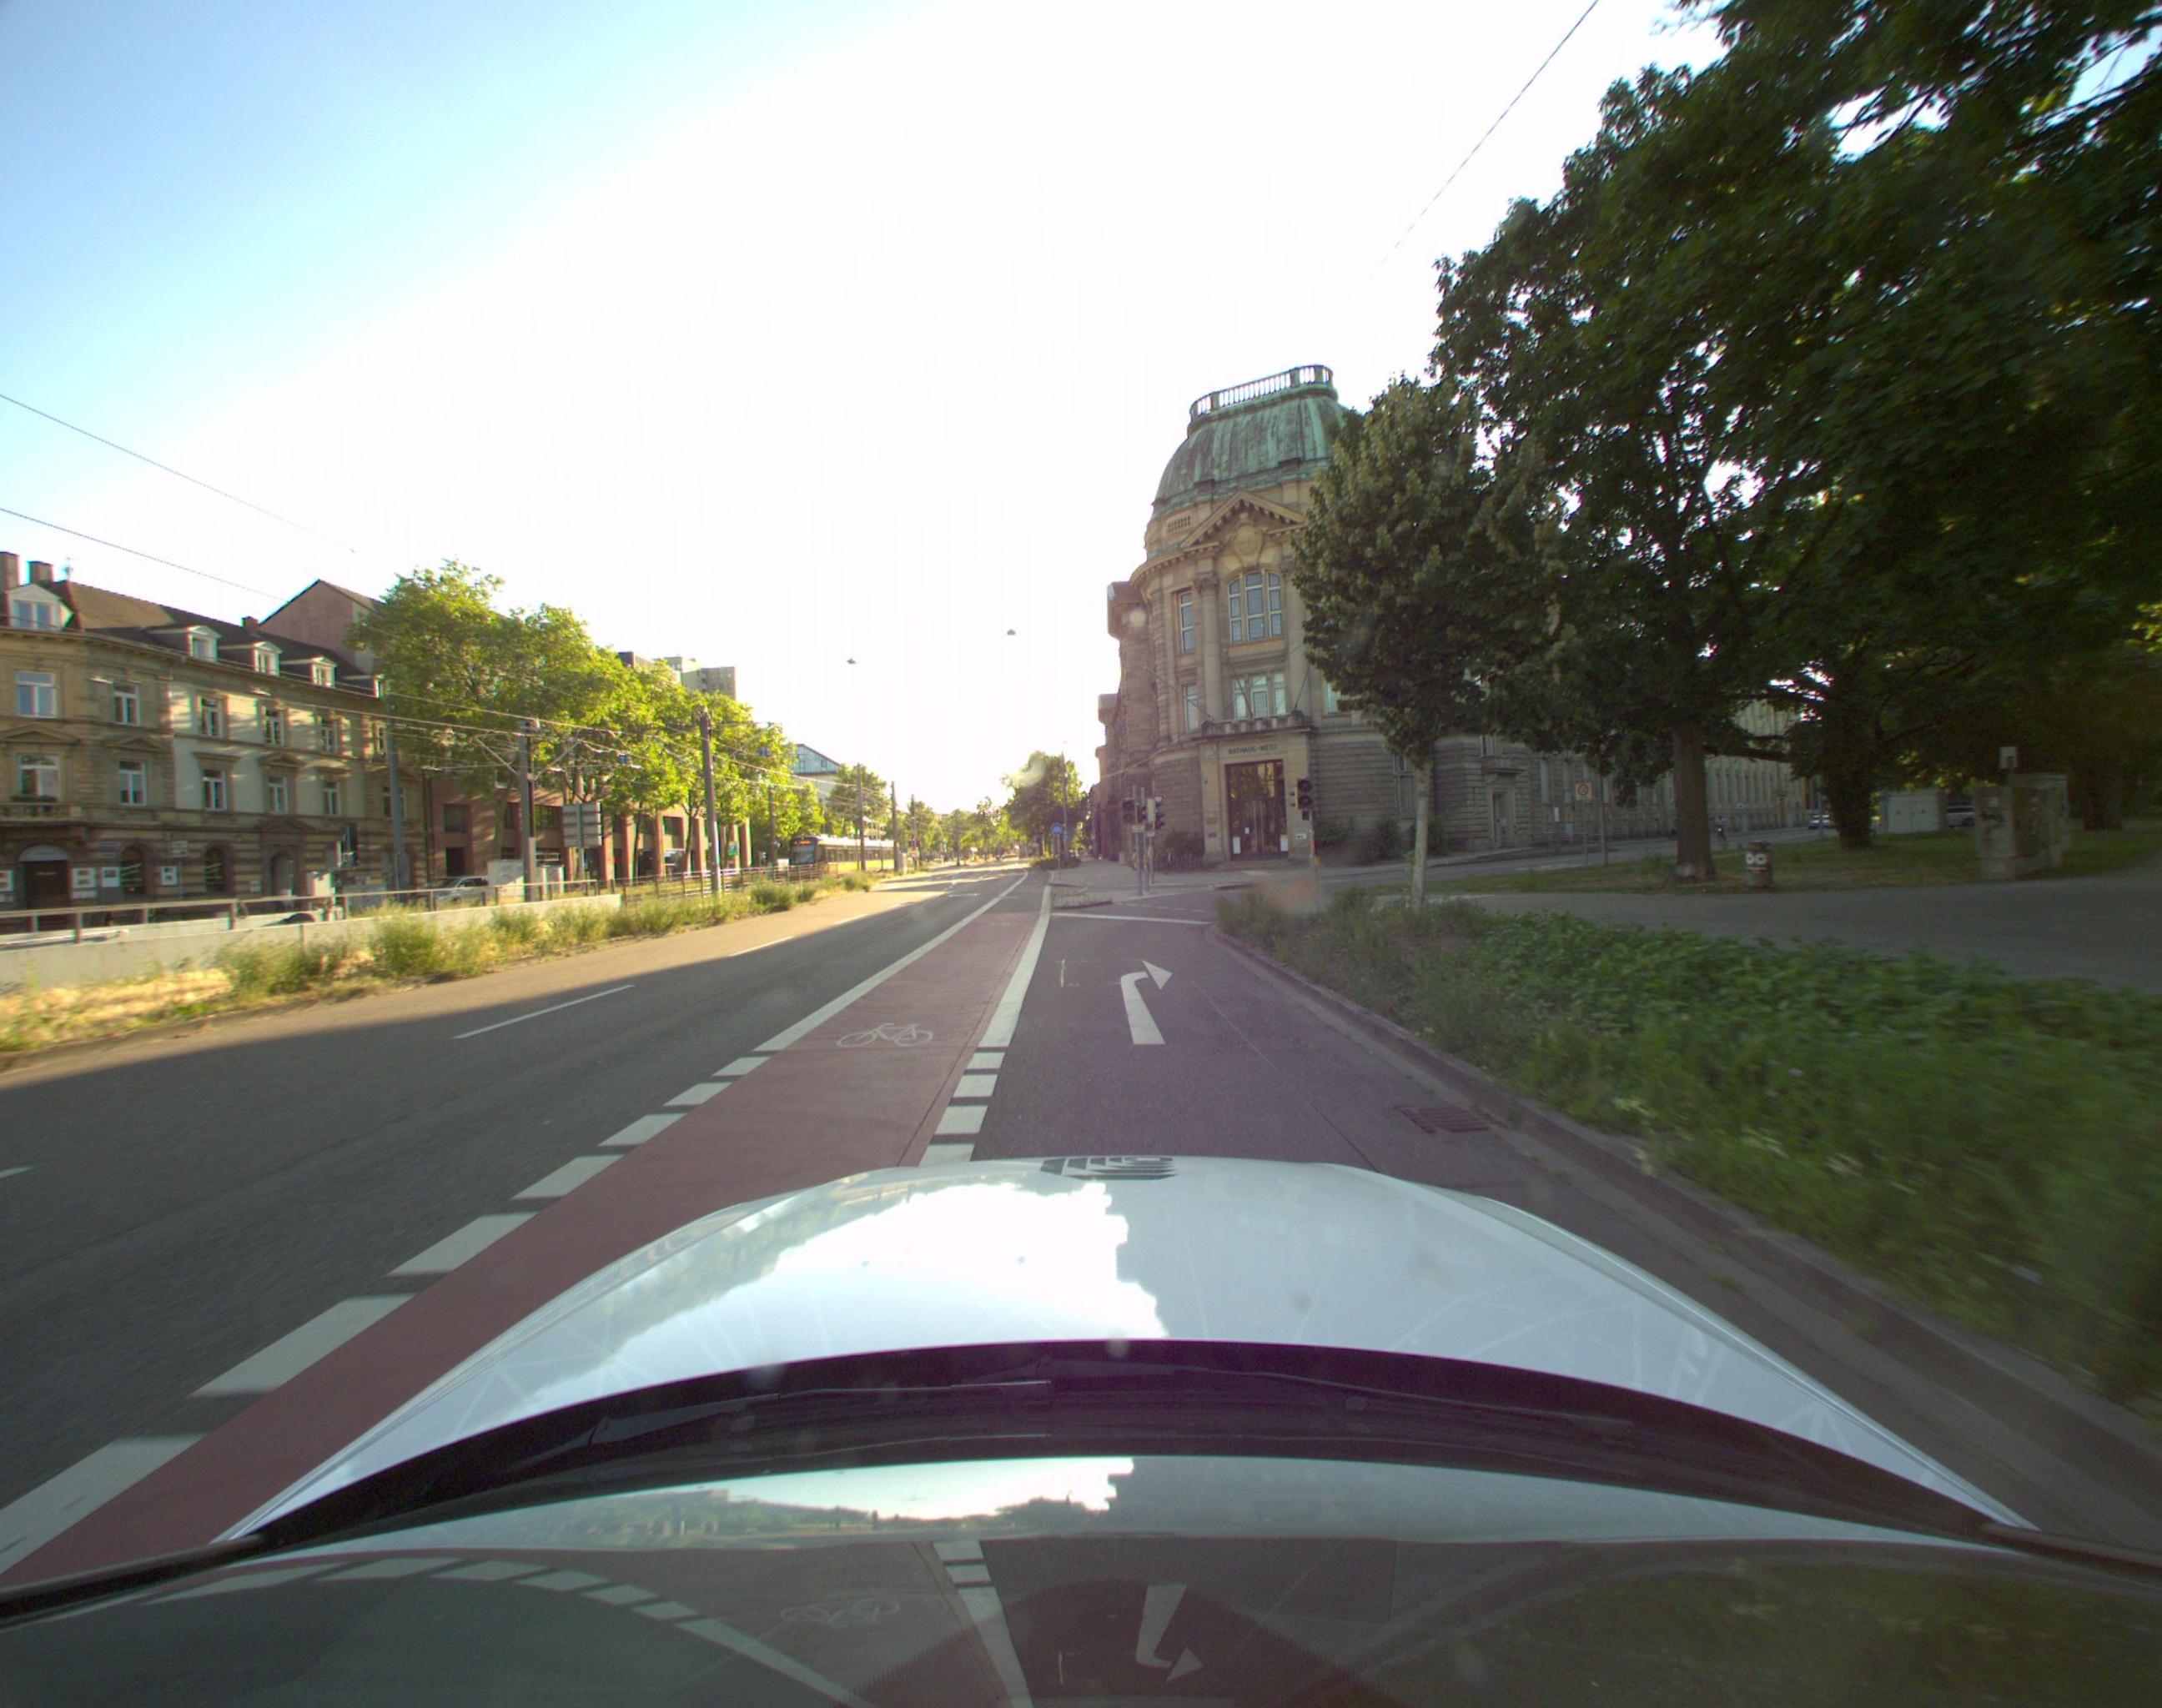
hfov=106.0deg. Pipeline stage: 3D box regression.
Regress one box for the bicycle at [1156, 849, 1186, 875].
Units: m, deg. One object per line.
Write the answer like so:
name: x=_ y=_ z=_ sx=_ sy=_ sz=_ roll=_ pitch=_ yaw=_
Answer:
bicycle: x=4.621 y=0.408 z=41.652 sx=0.859 sy=1.196 sz=2.252 roll=-3 pitch=0 yaw=23

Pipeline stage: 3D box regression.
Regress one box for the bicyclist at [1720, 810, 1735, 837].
bicyclist: x=43.870 y=-2.073 z=55.285 sx=0.639 sy=1.807 sz=0.785 roll=-4 pitch=-1 yaw=34

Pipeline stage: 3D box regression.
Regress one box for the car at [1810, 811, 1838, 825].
car: x=79.738 y=-3.904 z=87.396 sx=4.397 sy=1.397 sz=1.712 roll=-3 pitch=0 yaw=-42

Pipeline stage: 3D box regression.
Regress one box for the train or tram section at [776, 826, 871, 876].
train or tram section: x=-21.323 y=-0.218 z=69.047 sx=3.105 sy=3.559 sz=17.458 roll=-3 pitch=0 yaw=-3

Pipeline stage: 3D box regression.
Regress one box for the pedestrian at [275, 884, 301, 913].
pedestrian: x=-43.371 y=2.426 z=44.554 sx=0.702 sy=1.562 sz=0.690 roll=-3 pitch=0 yaw=-3

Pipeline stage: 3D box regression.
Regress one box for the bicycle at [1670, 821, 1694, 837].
bicycle: x=44.968 y=-1.849 z=60.891 sx=1.990 sy=1.101 sz=0.846 roll=-3 pitch=2 yaw=-35

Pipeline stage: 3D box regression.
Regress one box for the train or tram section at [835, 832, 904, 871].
train or tram section: x=-22.328 y=-0.185 z=87.696 sx=3.105 sy=3.559 sz=19.908 roll=-3 pitch=0 yaw=-3

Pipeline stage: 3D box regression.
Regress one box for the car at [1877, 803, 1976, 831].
car: x=56.561 y=-2.479 z=54.522 sx=1.791 sy=1.469 sz=4.403 roll=-3 pitch=-1 yaw=-39

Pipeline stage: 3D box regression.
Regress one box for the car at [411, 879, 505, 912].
car: x=-35.964 y=2.354 z=47.186 sx=1.754 sy=1.585 sz=4.734 roll=-3 pitch=0 yaw=0

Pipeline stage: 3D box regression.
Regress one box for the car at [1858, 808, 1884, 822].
car: x=94.080 y=-4.699 z=96.935 sx=4.397 sy=1.466 sz=1.862 roll=-3 pitch=0 yaw=-42

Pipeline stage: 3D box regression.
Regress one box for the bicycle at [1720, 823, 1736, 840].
bicycle: x=43.890 y=-1.522 z=55.275 sx=0.656 sy=1.070 sz=2.167 roll=-4 pitch=0 yaw=34
